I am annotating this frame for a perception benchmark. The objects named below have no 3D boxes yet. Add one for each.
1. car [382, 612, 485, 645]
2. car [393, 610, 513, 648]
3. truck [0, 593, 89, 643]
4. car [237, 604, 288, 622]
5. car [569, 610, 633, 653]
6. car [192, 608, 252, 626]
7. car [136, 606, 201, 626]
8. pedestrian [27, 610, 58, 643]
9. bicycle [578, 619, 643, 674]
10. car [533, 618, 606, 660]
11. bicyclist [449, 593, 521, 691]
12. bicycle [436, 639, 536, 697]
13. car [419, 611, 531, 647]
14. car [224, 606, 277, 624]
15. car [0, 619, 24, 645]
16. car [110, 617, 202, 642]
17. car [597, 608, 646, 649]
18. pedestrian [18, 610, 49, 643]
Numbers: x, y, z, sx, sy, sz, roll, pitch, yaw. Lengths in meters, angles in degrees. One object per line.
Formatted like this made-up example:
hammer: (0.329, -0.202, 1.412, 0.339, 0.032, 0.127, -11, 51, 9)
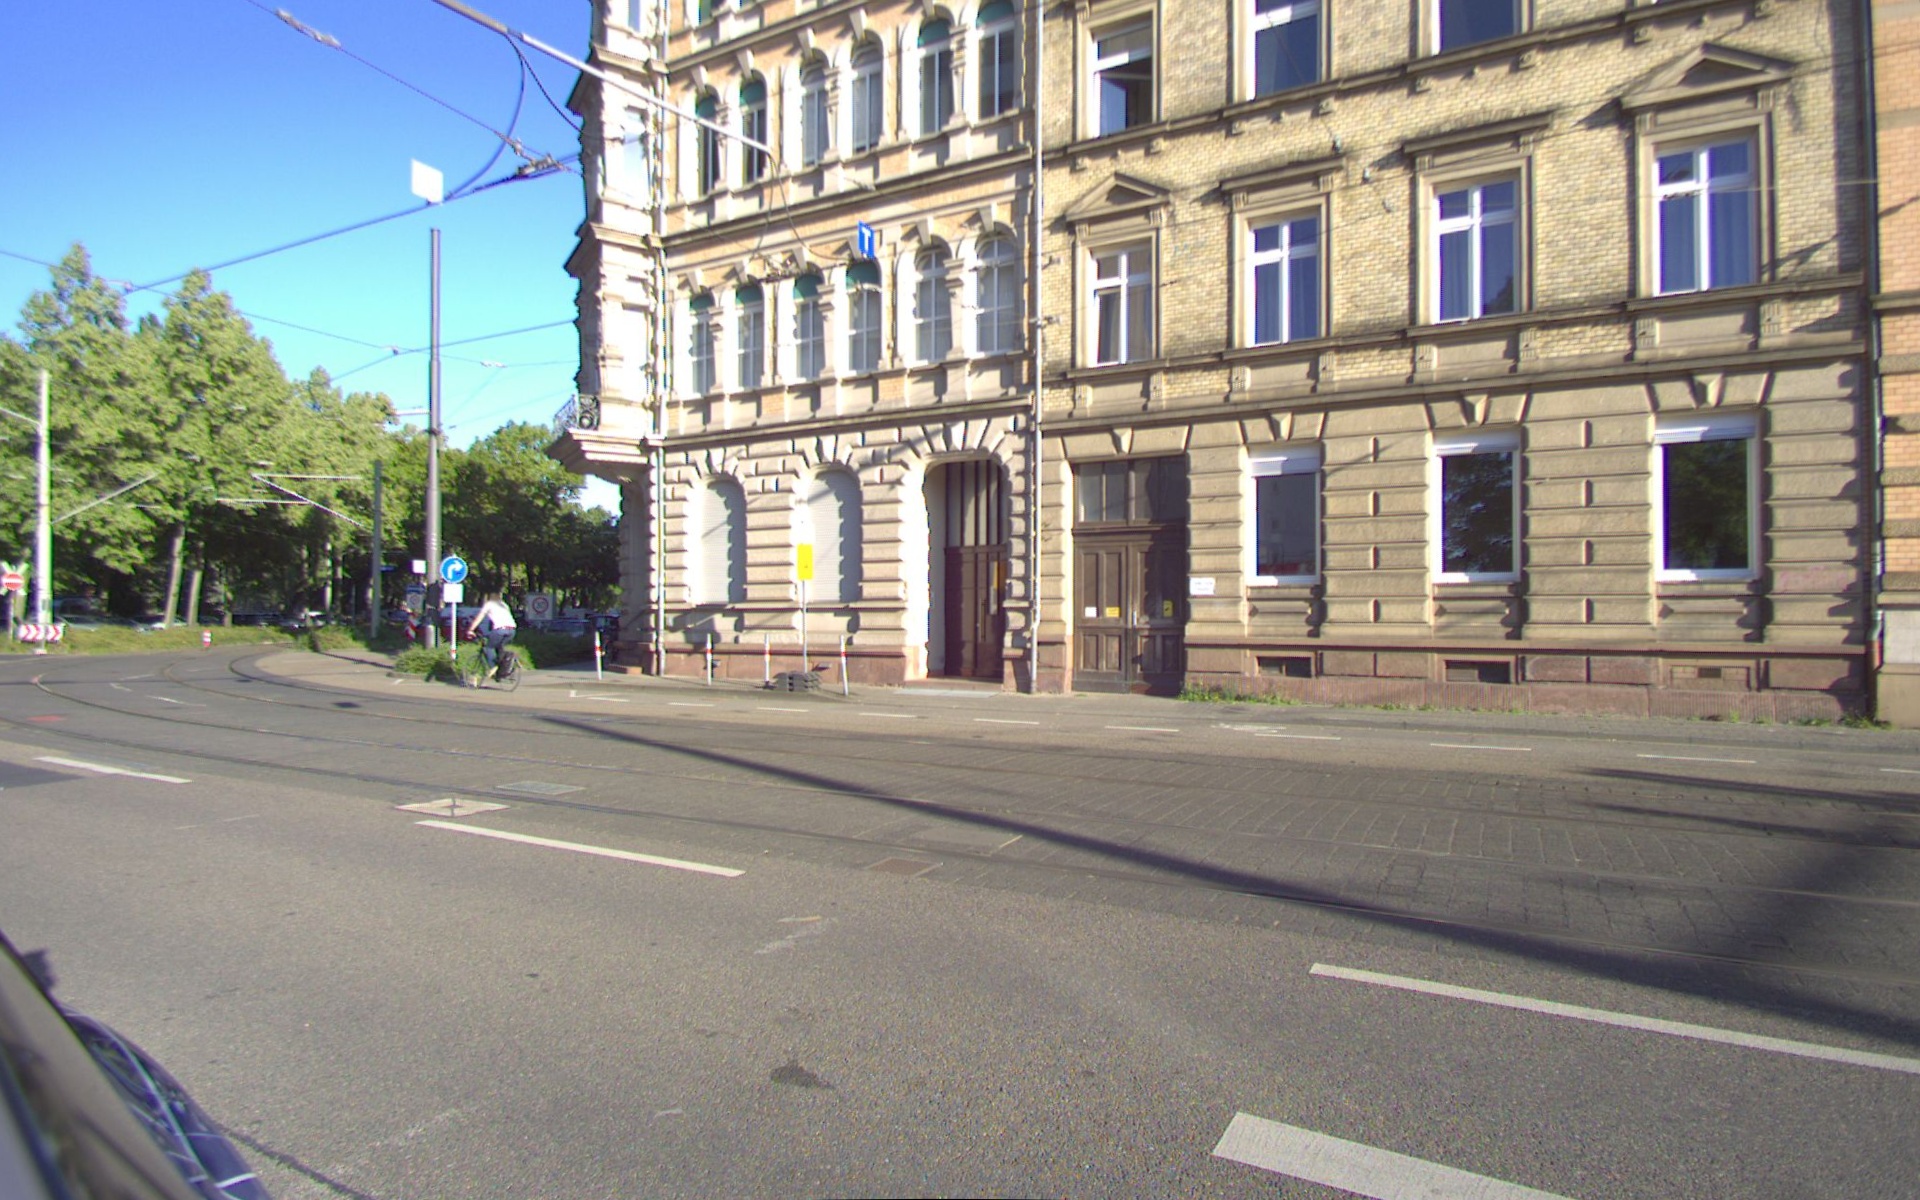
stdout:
car: (-24.750, 1.347, 47.658, 3.949, 1.519, 1.866, 0, -1, 5)
car: (-24.942, 1.421, 49.896, 4.994, 1.801, 1.997, 0, -1, 5)
truck: (-53.777, 1.044, 59.557, 1.966, 2.804, 4.898, 1, -1, -17)
car: (-71.210, 1.320, 103.344, 3.946, 1.763, 1.884, 0, -1, 3)
car: (-14.530, 1.251, 41.186, 1.710, 1.674, 4.007, 0, -1, -8)
car: (-70.542, 1.630, 96.757, 4.300, 1.719, 1.998, 0, -1, 4)
car: (-68.443, 1.397, 87.529, 4.394, 1.763, 1.994, 0, -1, 10)
pedestrian: (-49.278, 1.425, 54.346, 0.820, 1.781, 0.886, 0, -1, 8)
bicycle: (-8.530, 1.107, 24.811, 0.636, 1.275, 2.688, 0, -1, 0)
car: (-14.051, 1.387, 36.578, 1.710, 1.425, 3.440, 0, -1, -8)
bicyclist: (-9.333, 0.819, 19.887, 1.208, 1.854, 0.722, -2, -2, 31)
bicycle: (-9.298, 1.309, 19.844, 2.108, 1.092, 0.721, -1, -2, 31)
car: (-25.493, 1.511, 53.278, 4.994, 1.822, 1.997, 0, -1, 5)
car: (-70.557, 1.449, 100.689, 3.946, 1.763, 1.884, 0, -1, 3)
car: (-52.652, 1.722, 54.114, 1.919, 1.409, 4.008, 0, -1, -10)
car: (-43.941, 1.594, 55.347, 3.636, 1.364, 1.741, 0, -1, 0)
car: (-17.262, 1.440, 51.795, 1.967, 2.029, 4.648, 0, -1, -13)
pedestrian: (-50.125, 1.421, 54.752, 0.820, 1.781, 0.886, 0, -1, 8)
